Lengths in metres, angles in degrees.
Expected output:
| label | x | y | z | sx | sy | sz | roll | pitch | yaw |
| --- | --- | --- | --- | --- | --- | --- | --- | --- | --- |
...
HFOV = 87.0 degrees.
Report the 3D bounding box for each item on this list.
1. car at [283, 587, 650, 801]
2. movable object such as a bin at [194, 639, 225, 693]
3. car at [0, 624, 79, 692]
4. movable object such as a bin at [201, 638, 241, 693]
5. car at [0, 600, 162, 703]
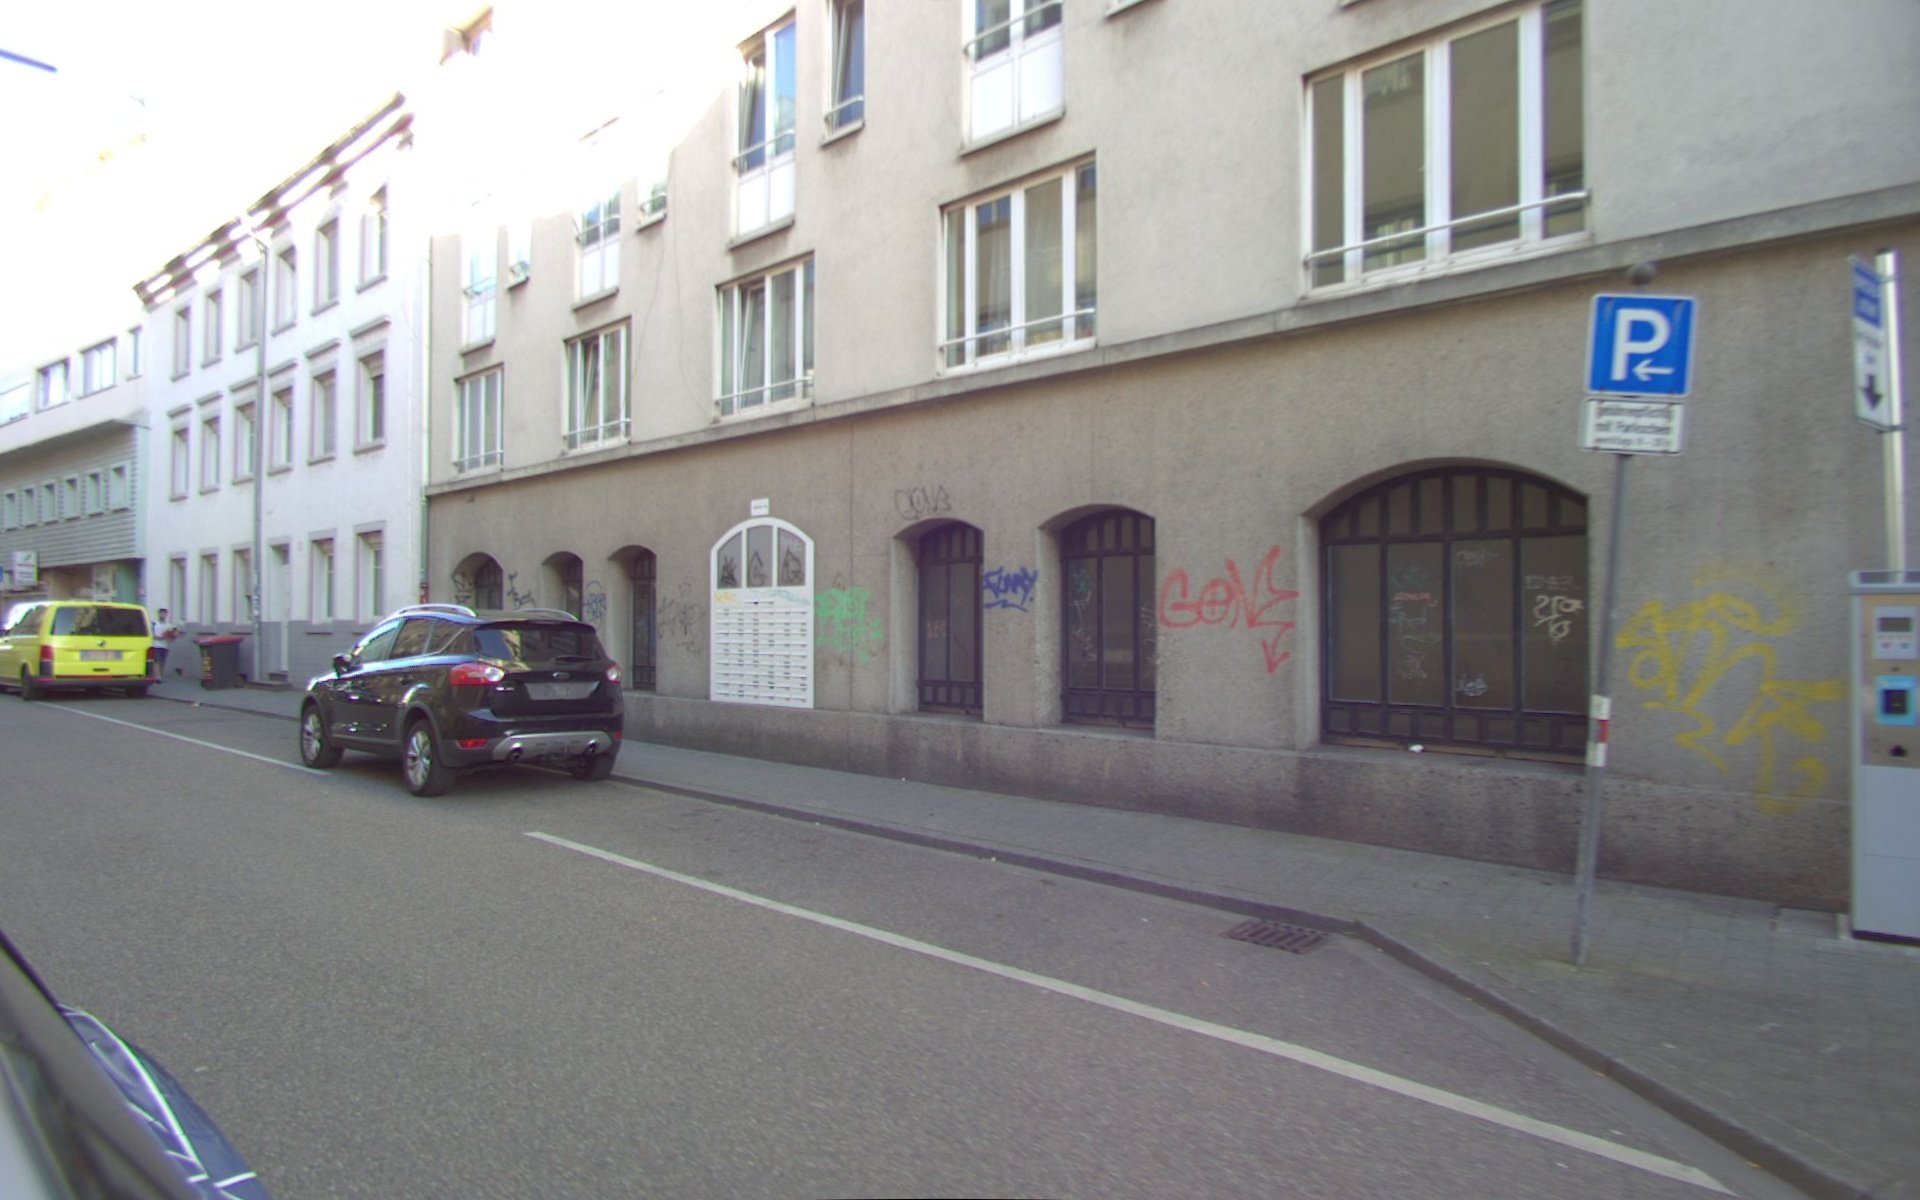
| label | x | y | z | sx | sy | sz | roll | pitch | yaw |
| --- | --- | --- | --- | --- | --- | --- | --- | --- | --- |
| car | -5.082 | 0.846 | 10.178 | 4.187 | 1.724 | 1.722 | -1 | -5 | 40 |
| movable object such as a bin | -15.715 | 1.373 | 21.186 | 0.433 | 1.113 | 0.406 | -1 | -3 | 38 |
| car | -22.681 | 1.330 | 23.909 | 4.066 | 1.497 | 1.803 | -1 | -4 | 35 |
| movable object such as a bin | -15.235 | 1.335 | 20.870 | 0.432 | 1.113 | 0.535 | -1 | -3 | 38 |
| car | -18.303 | 1.026 | 20.656 | 4.855 | 1.881 | 1.863 | -1 | -4 | 37 |
